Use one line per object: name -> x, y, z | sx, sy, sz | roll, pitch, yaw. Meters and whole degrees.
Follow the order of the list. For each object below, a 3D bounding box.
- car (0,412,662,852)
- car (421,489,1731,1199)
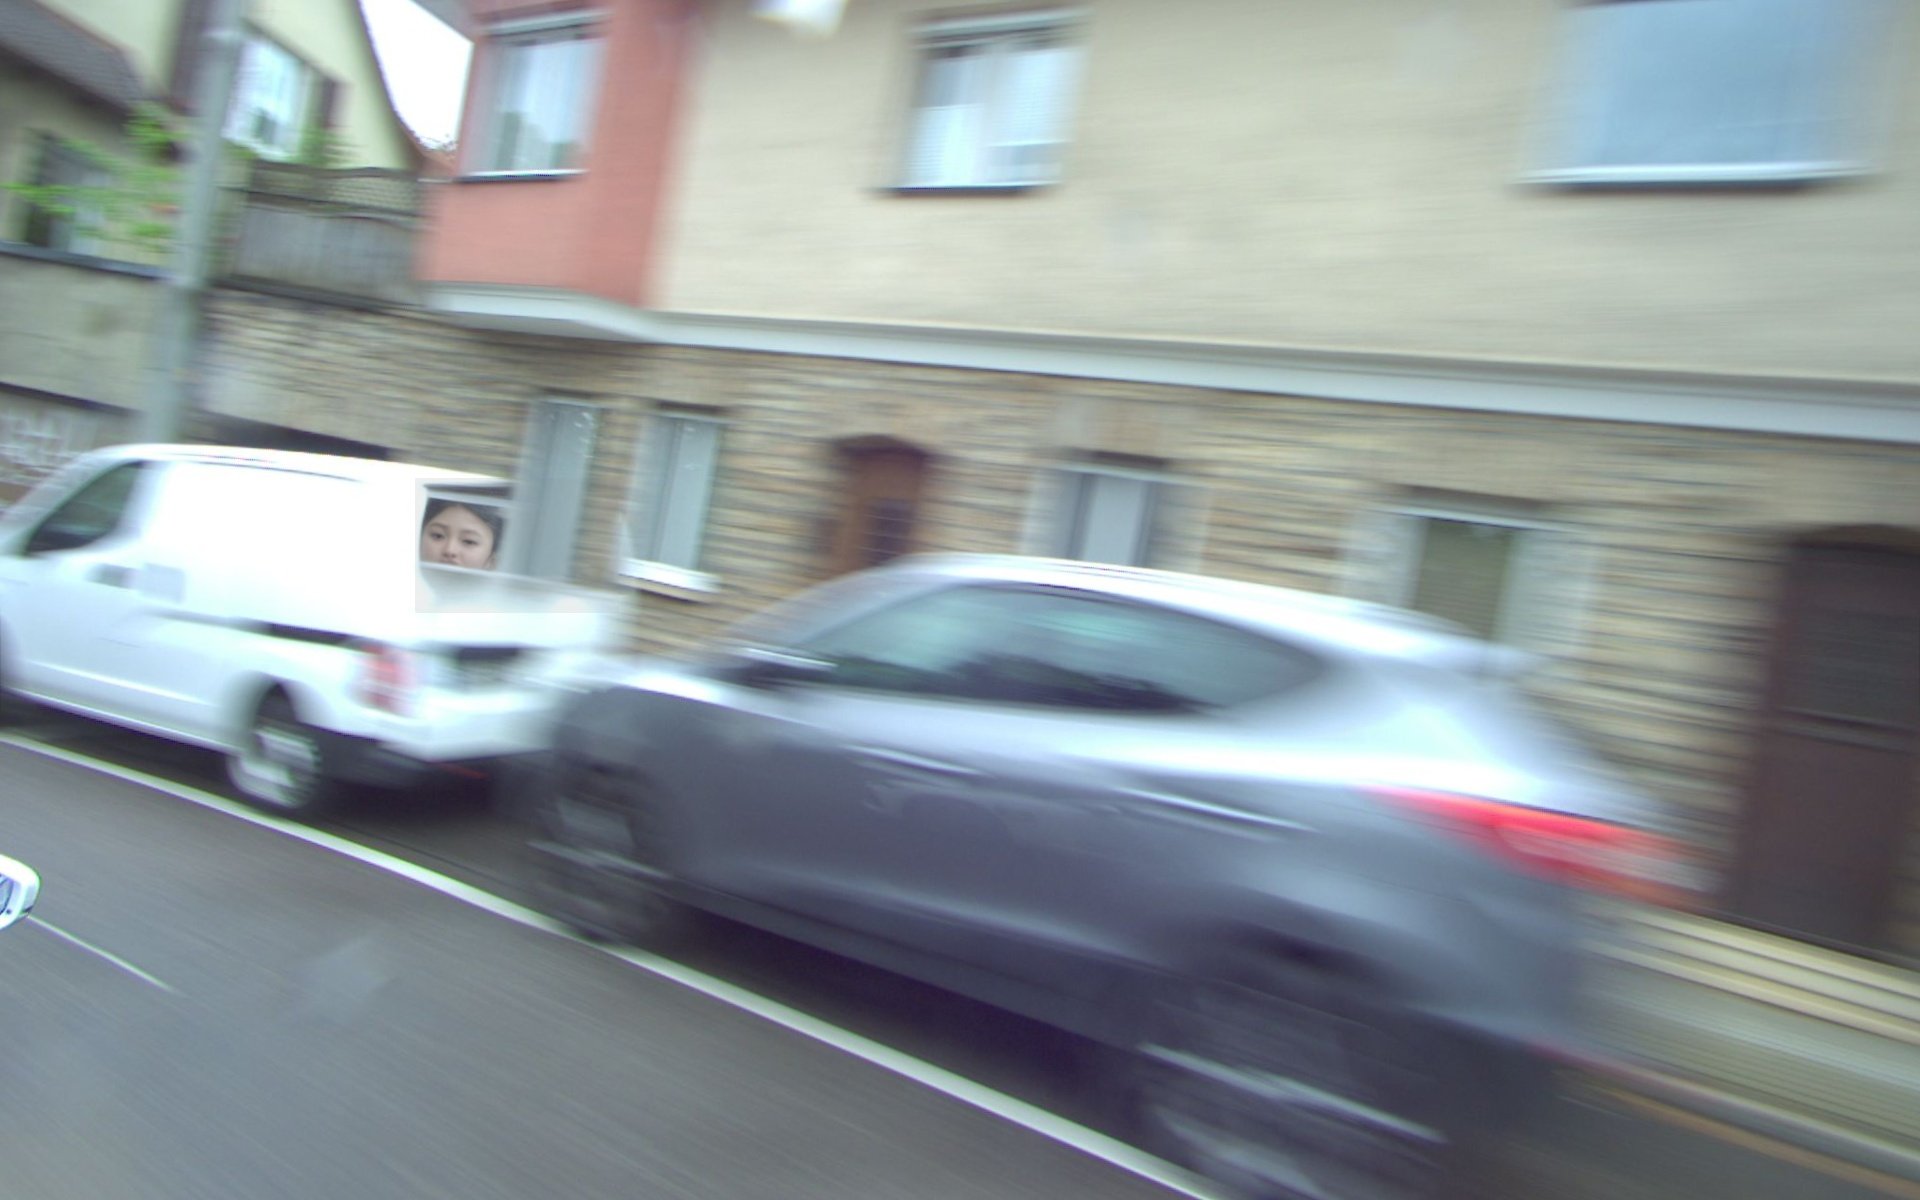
car -> -4.187, 0.005, 6.158 | 4.246, 1.814, 1.709 | 8, 2, 22
car -> 0.064, 0.658, 3.969 | 4.334, 1.625, 1.618 | 8, 1, 28
